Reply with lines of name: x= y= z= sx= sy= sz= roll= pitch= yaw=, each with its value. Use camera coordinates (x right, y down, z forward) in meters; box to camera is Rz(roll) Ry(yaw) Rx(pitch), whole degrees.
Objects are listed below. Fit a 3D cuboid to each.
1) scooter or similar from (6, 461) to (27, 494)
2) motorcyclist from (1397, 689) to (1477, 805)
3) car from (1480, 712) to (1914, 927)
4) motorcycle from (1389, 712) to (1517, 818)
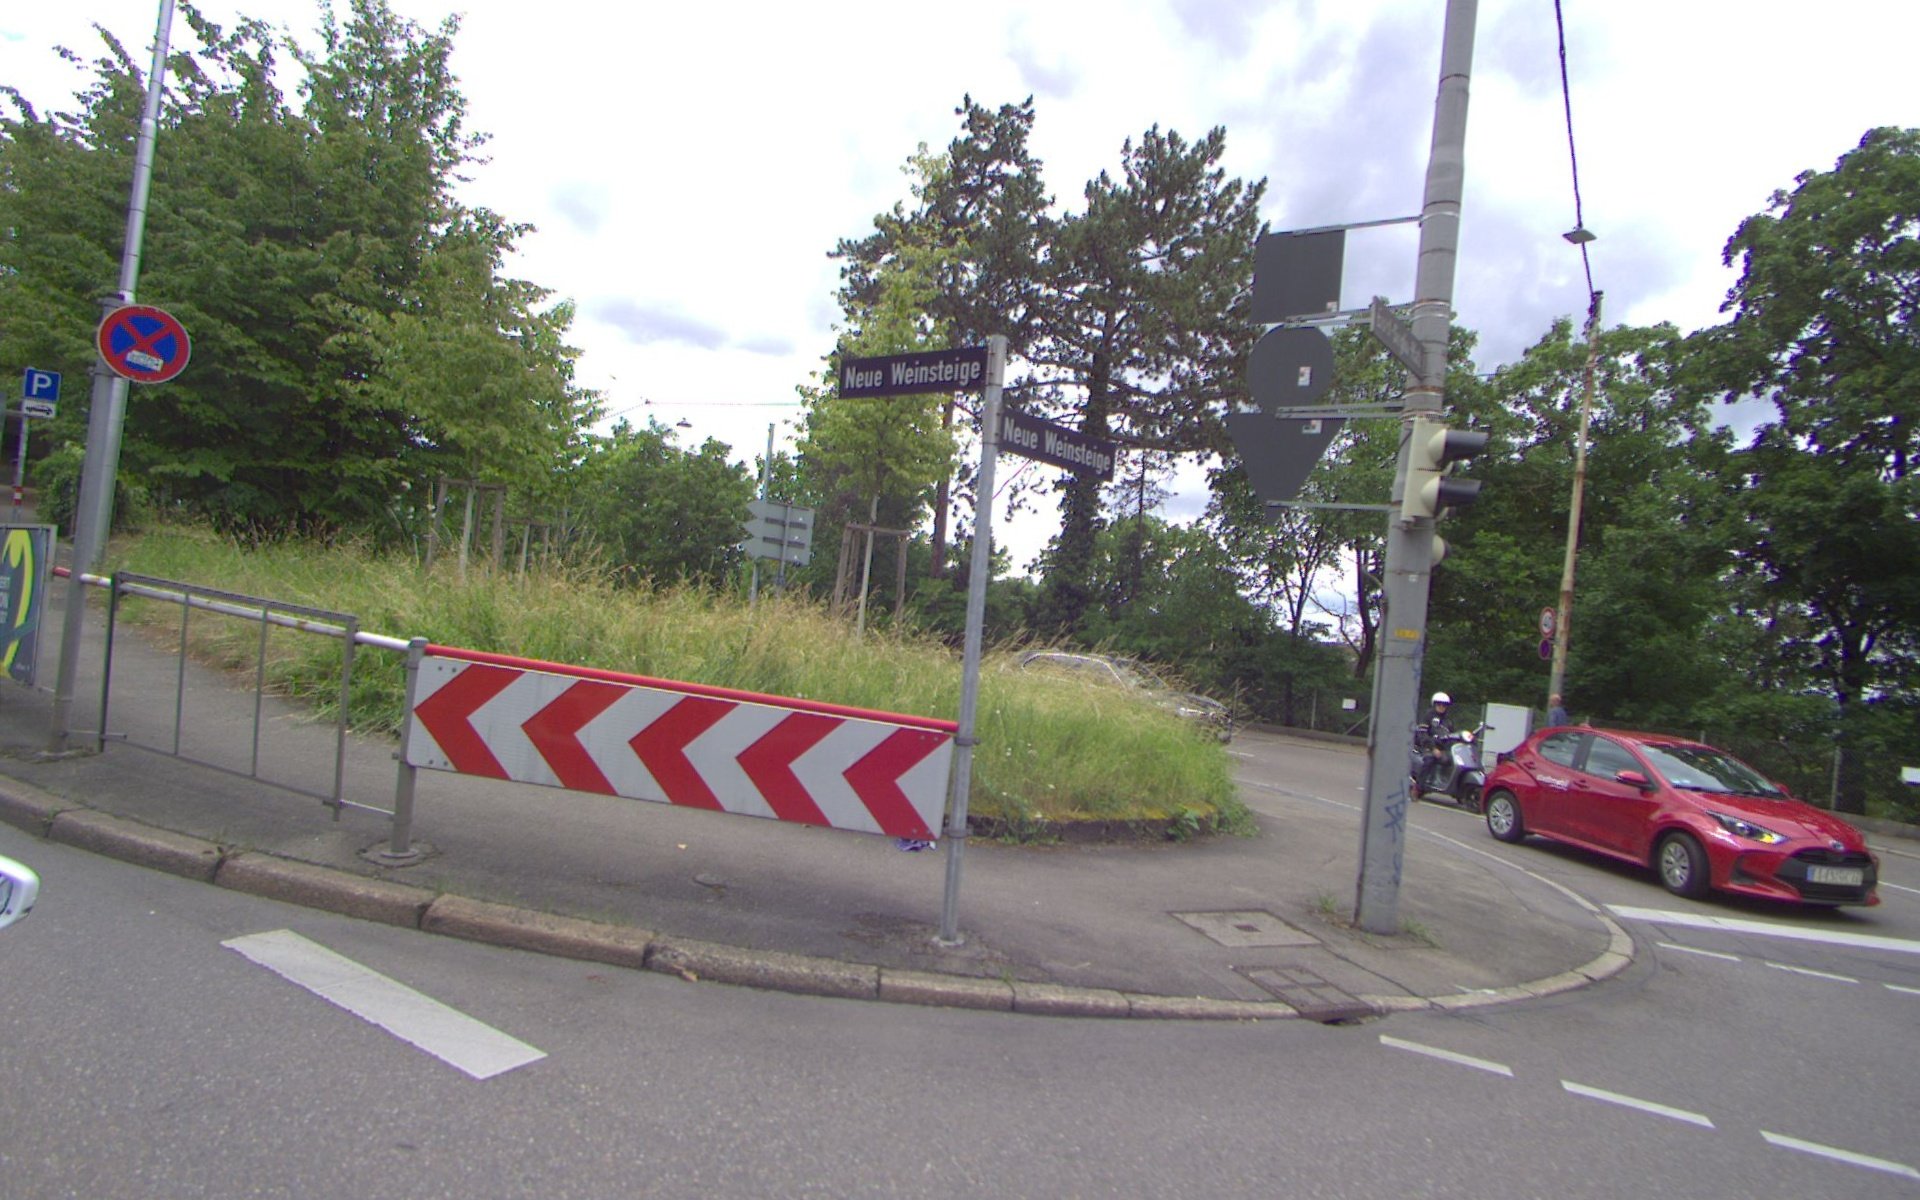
scooter or similar: x=-39.193 y=-5.100 z=41.779 sx=1.152 sy=1.277 sz=0.515 roll=10 pitch=4 yaw=44
motorcyclist: x=7.314 y=2.242 z=15.448 sx=0.714 sy=1.624 sz=0.647 roll=7 pitch=0 yaw=-10
car: x=7.562 y=2.178 z=10.835 sx=1.622 sy=1.522 sz=3.699 roll=5 pitch=-2 yaw=-6
motorcycle: x=7.355 y=2.437 z=15.100 sx=0.714 sy=1.248 sz=1.745 roll=7 pitch=0 yaw=-10
